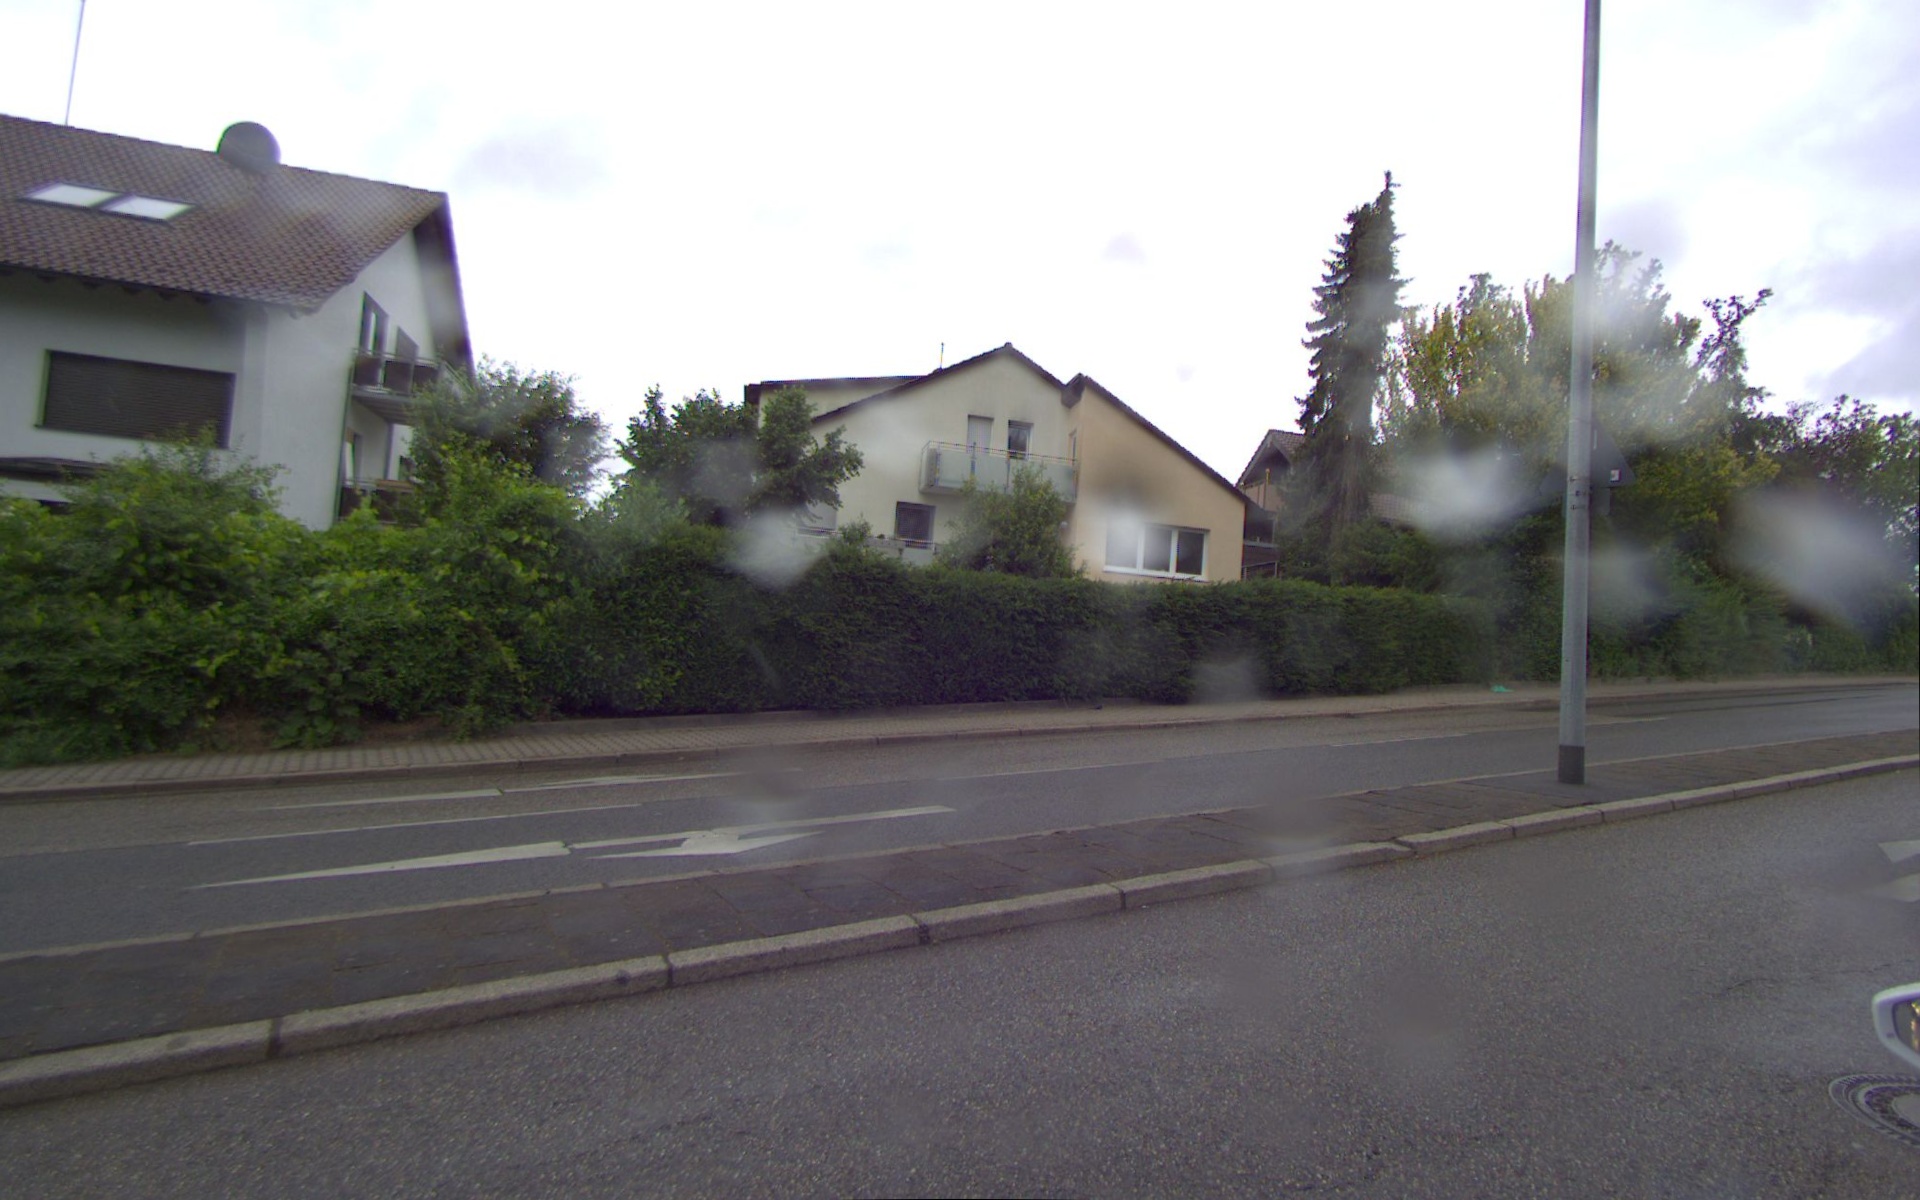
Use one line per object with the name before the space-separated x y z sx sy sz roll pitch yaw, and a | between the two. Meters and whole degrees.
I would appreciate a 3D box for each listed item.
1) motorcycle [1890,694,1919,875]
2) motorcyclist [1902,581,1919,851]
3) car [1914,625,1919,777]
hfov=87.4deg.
motorcycle | 6.570 1.147 6.238 1.727 1.067 0.687 3 -1 -30
motorcyclist | 6.377 0.728 6.115 0.666 1.664 0.761 2 -1 -30
car | 11.017 1.031 9.429 4.280 1.547 1.983 2 -4 -32
